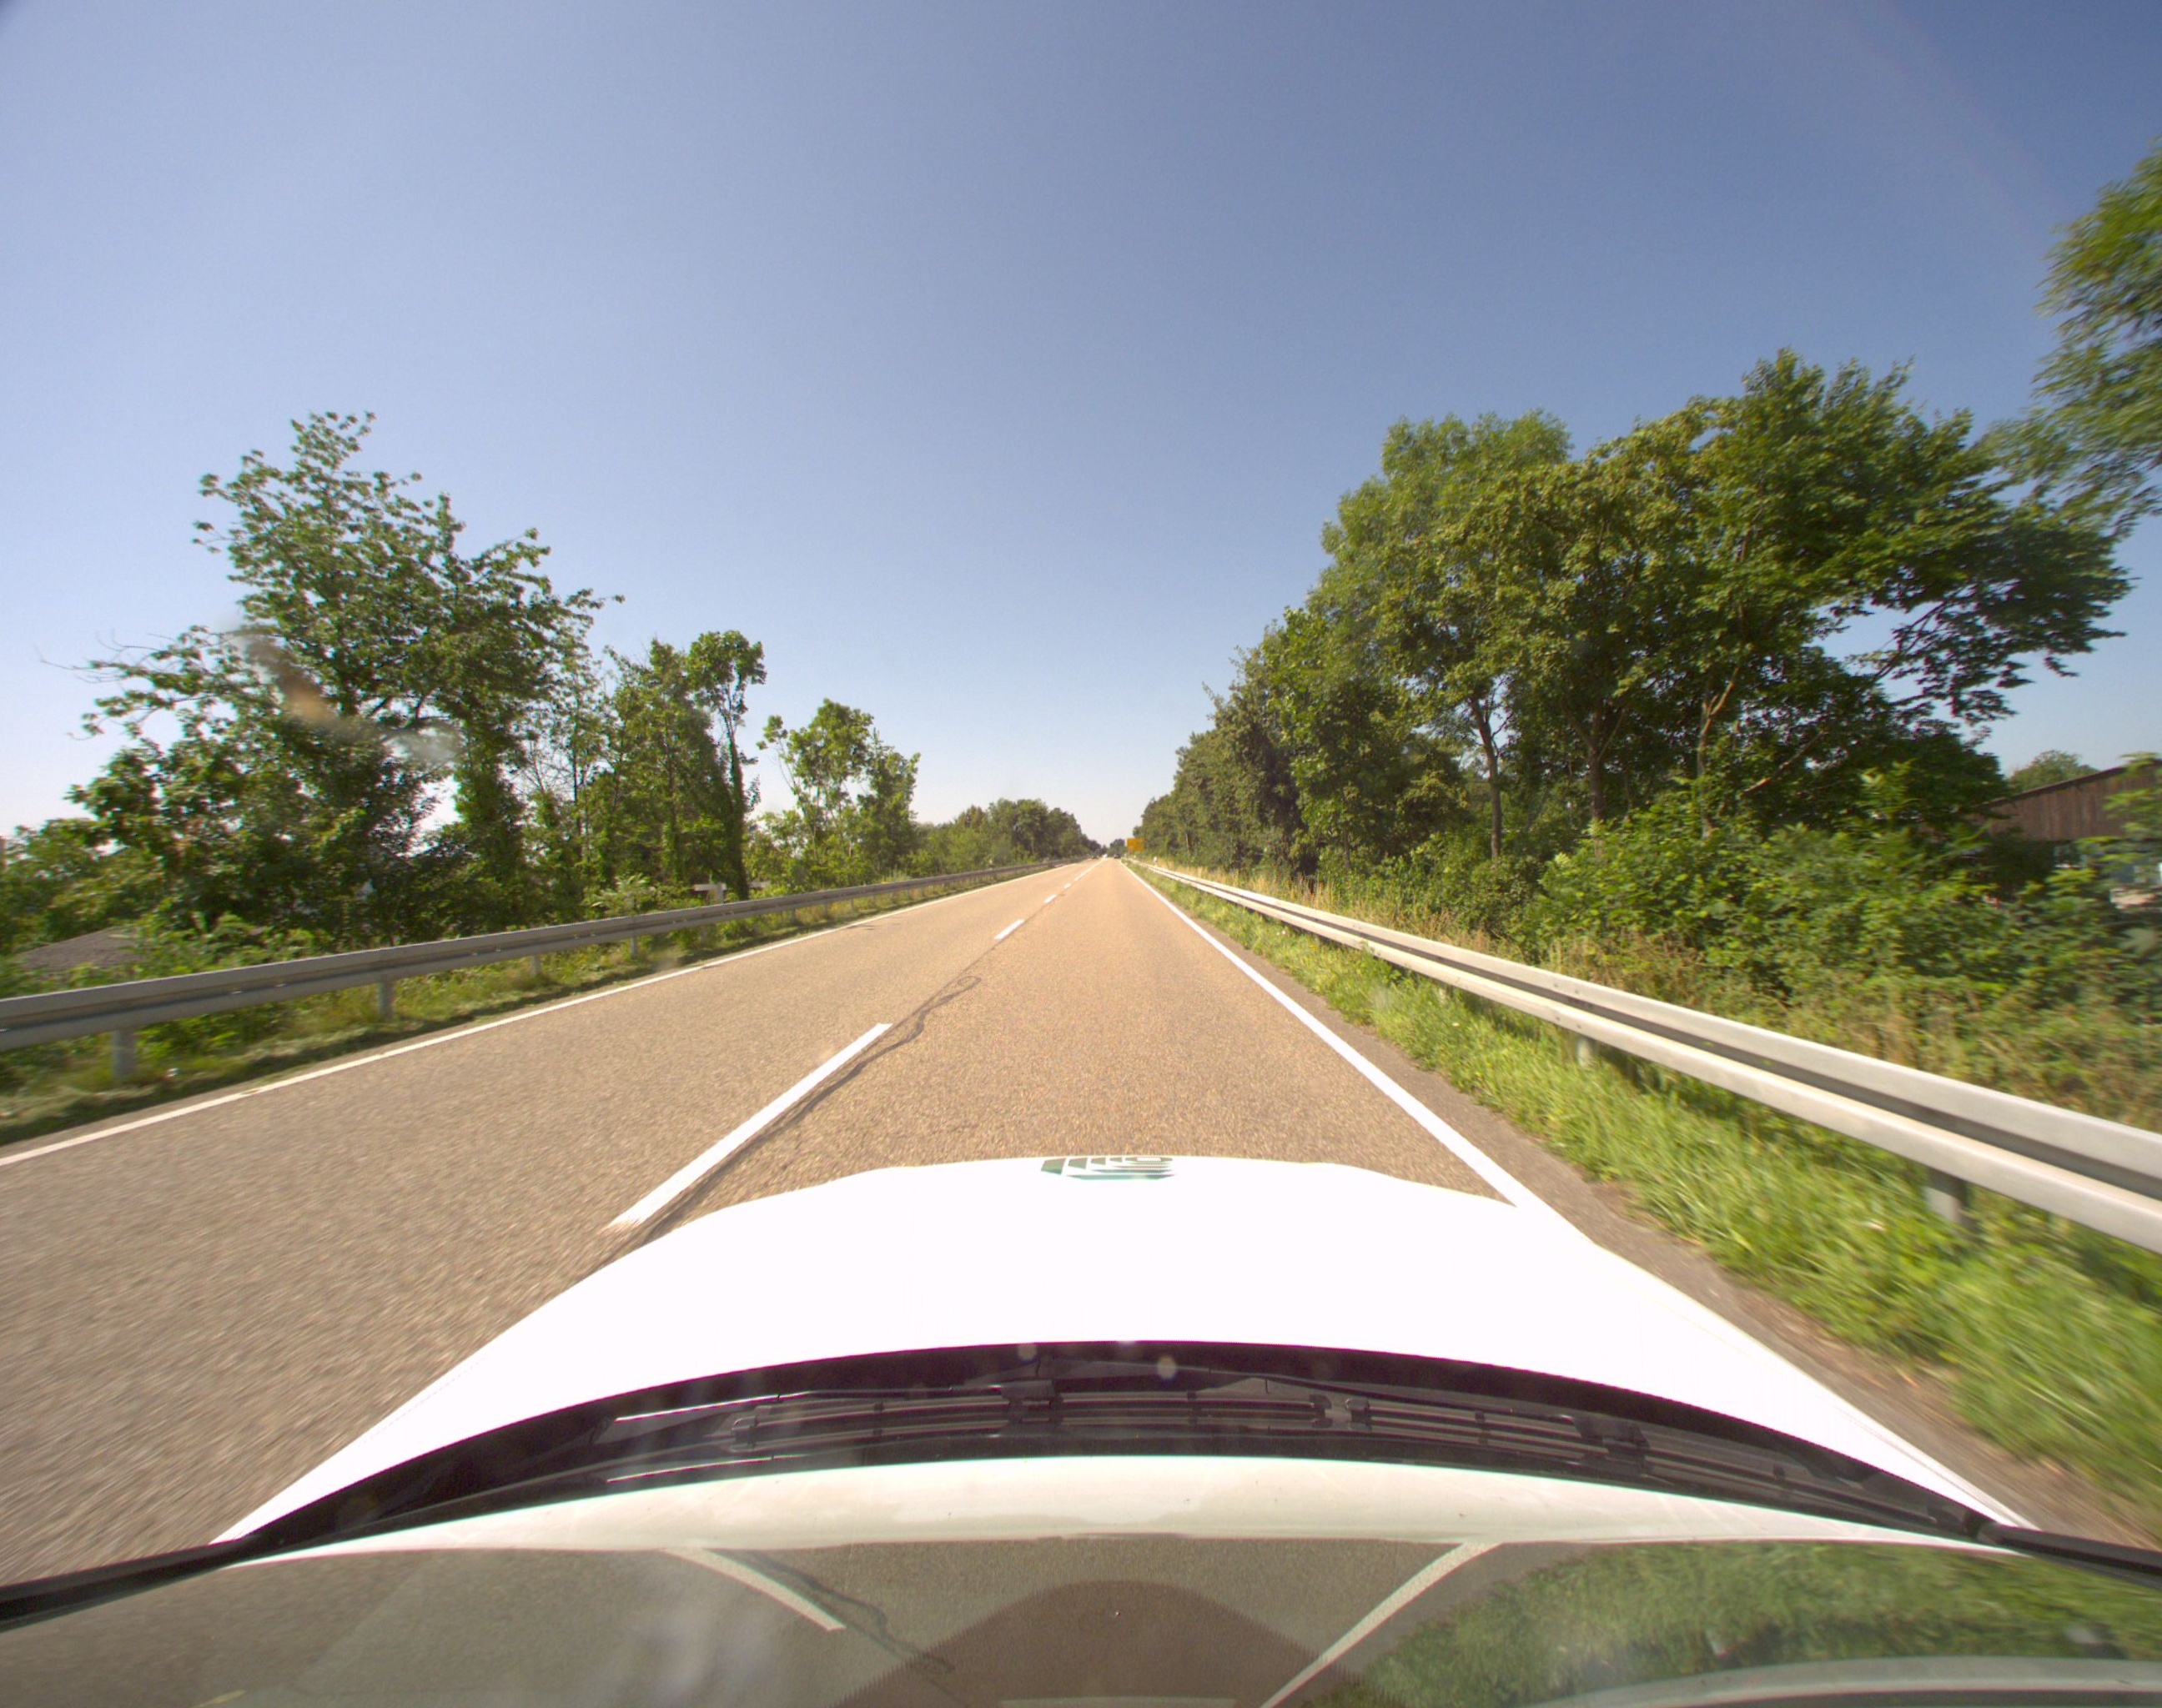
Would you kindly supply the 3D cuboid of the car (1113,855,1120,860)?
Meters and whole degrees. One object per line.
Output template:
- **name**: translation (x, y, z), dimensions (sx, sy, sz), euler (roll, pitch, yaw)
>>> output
- **car**: translation (9.399, 0.898, 215.761), dimensions (1.734, 1.470, 3.695), euler (-1, 0, 3)

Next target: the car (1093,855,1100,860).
- **car**: translation (4.210, 0.900, 224.361), dimensions (1.739, 1.425, 4.680), euler (-1, 0, 2)
